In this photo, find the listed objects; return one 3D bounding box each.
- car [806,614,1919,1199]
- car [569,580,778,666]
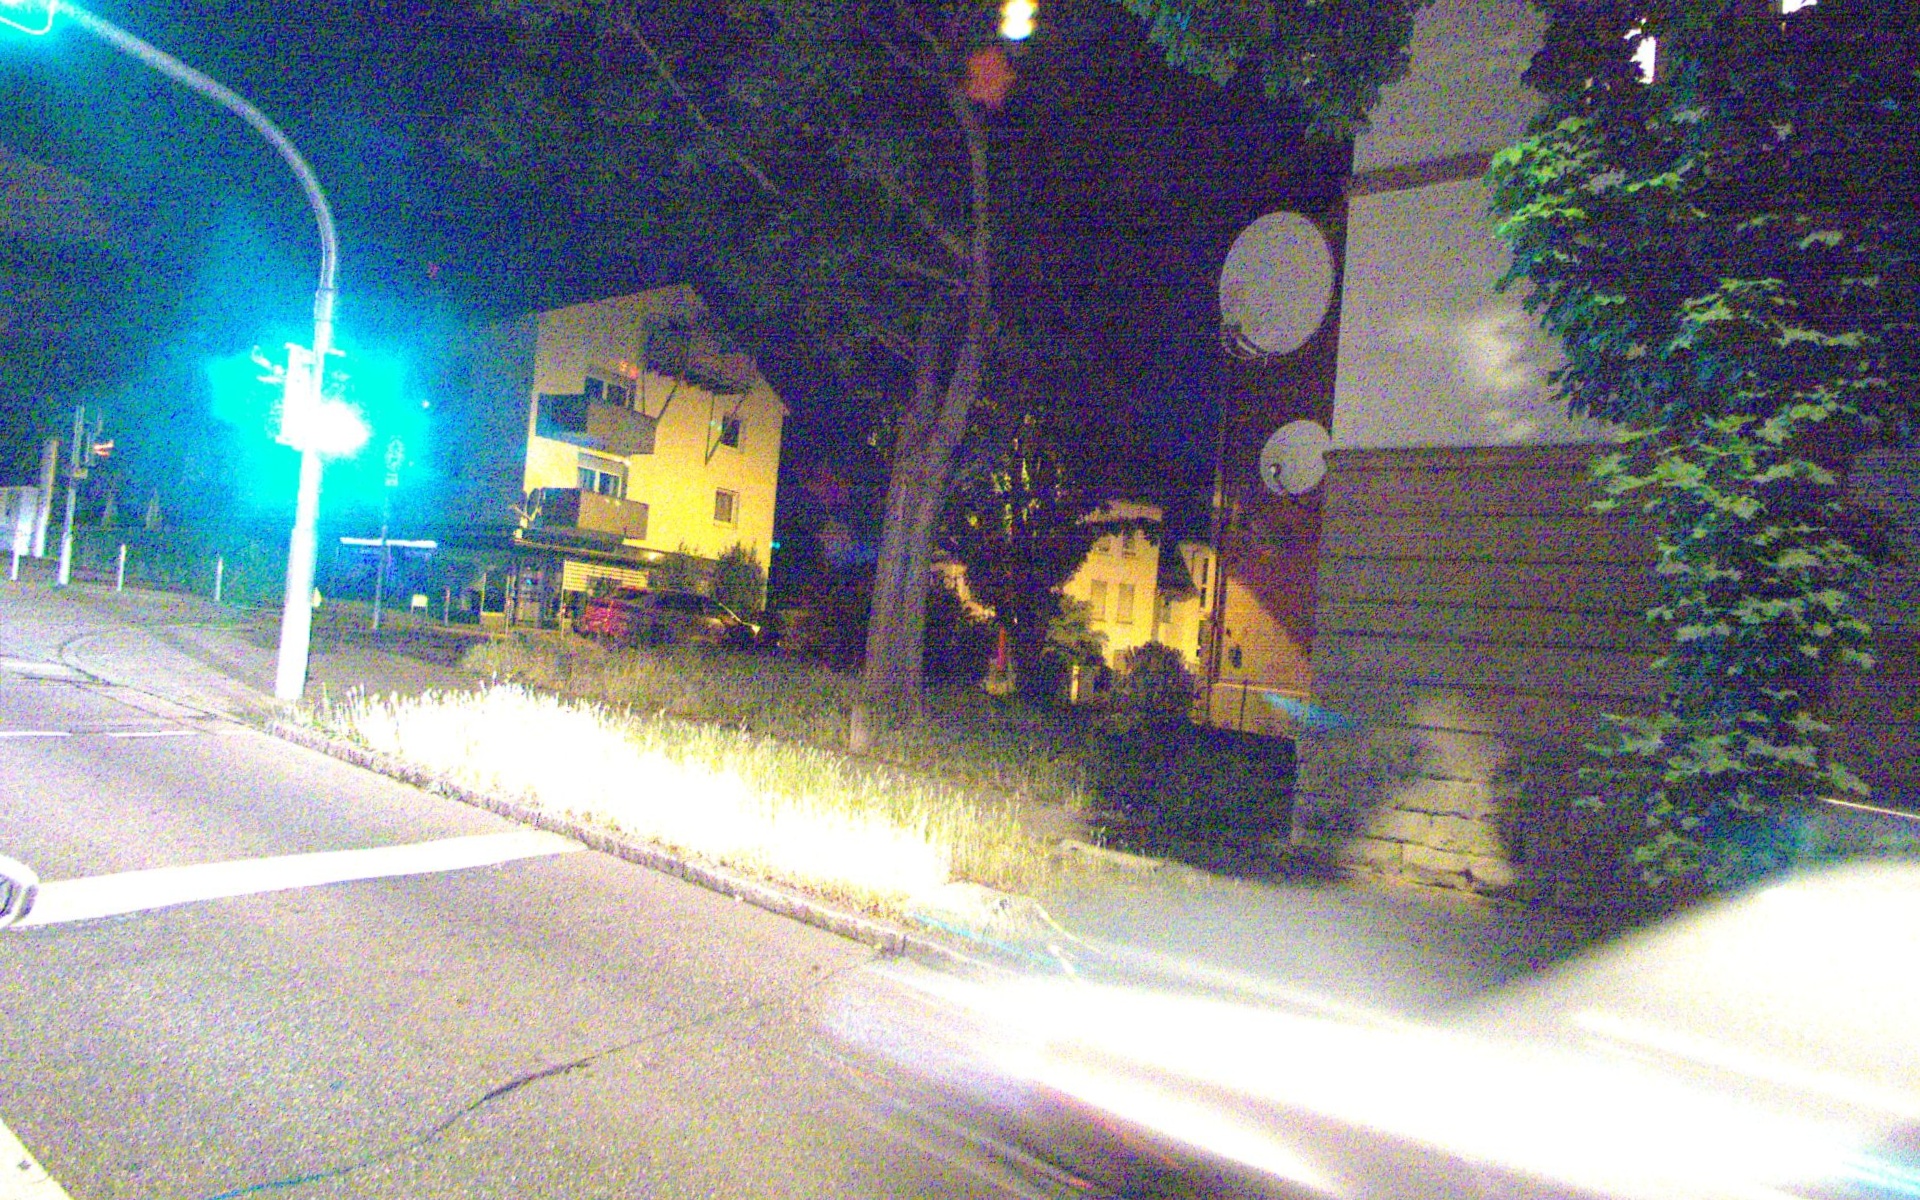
[{"bbox_3d":[1.872,1.047,1.749,3.932,1.503,1.780,6,-2,30],"label":"car"},{"bbox_3d":[-6.514,0.583,23.298,1.778,1.577,4.366,3,-3,38],"label":"car"}]
